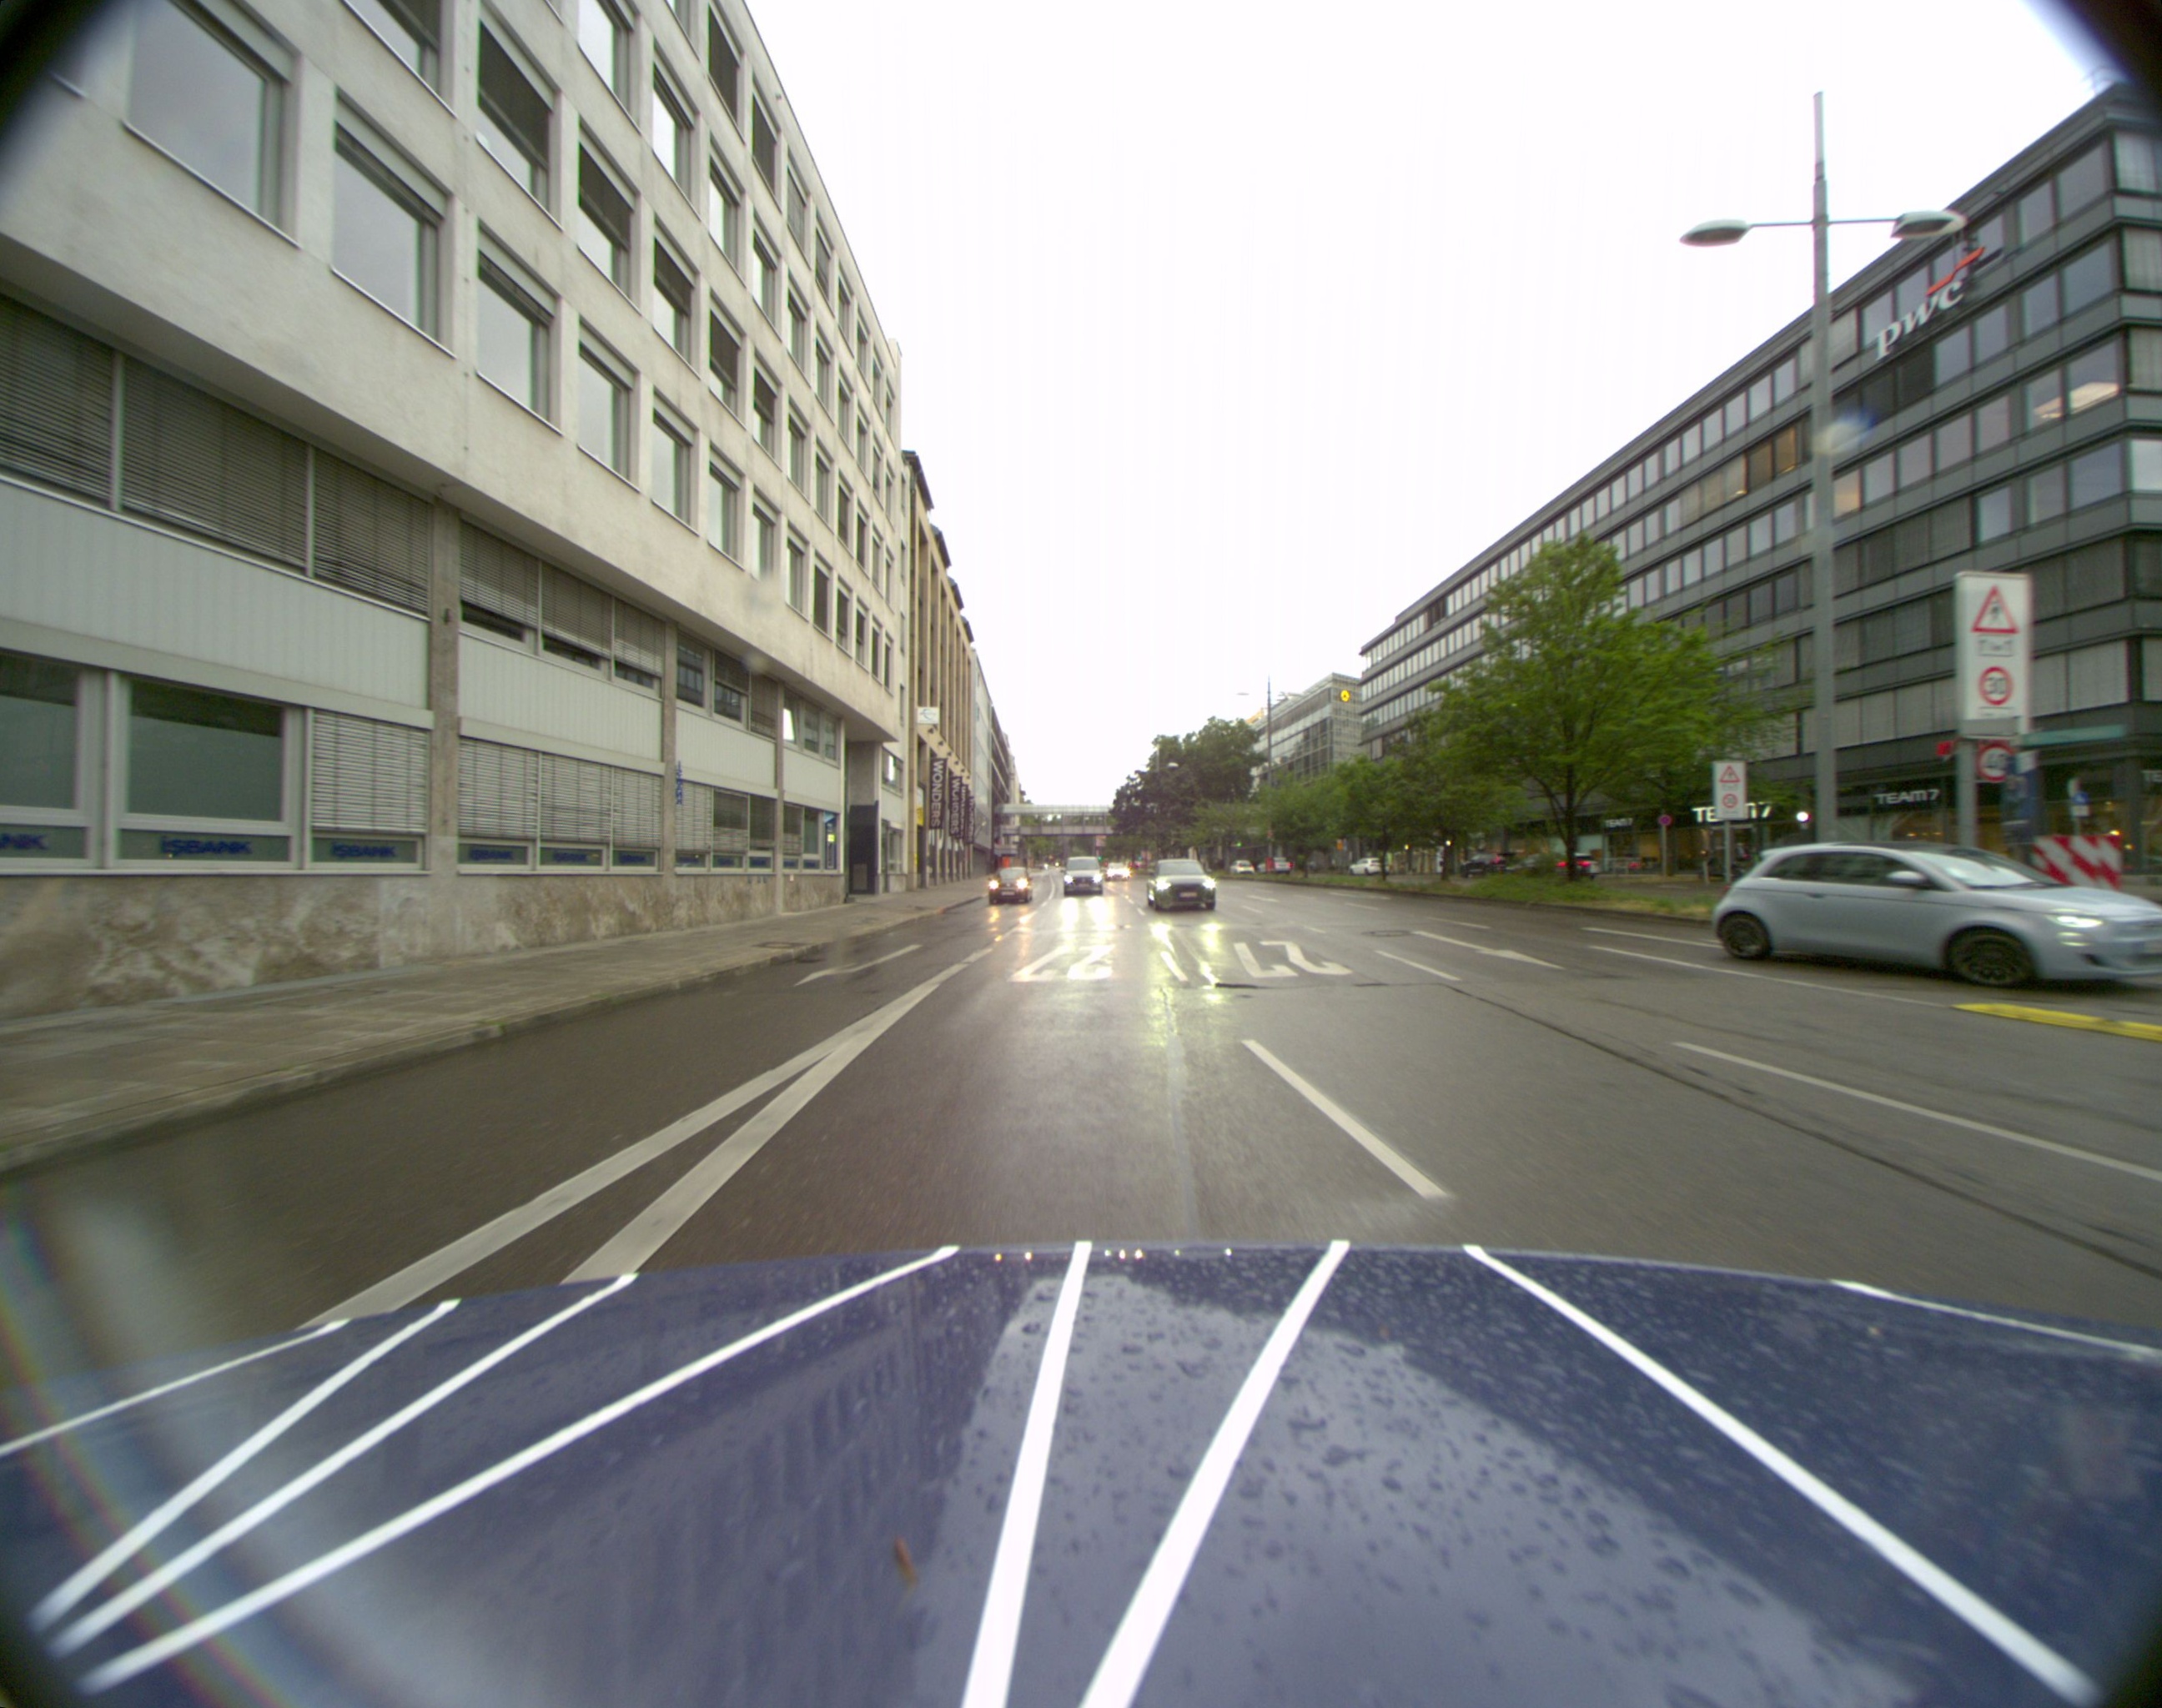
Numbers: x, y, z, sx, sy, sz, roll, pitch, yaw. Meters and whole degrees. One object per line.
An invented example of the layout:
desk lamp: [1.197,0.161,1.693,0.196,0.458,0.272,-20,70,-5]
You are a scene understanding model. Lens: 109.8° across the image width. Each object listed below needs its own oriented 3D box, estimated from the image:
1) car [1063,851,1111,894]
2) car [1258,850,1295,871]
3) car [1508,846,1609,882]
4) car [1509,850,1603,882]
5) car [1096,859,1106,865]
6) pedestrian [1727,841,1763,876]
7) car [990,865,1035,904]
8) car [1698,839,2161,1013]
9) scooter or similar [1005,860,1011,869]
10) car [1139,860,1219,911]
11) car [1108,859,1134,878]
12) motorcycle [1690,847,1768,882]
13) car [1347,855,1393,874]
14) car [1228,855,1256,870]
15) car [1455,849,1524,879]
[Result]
car: [0.222,0.884,38.753,2.163,2.014,5.040,-1,0,-2]
car: [17.387,0.602,67.820,1.742,1.717,4.492,-2,0,-5]
car: [22.067,0.463,35.336,1.998,1.535,4.483,-1,0,2]
car: [25.056,0.595,40.293,1.813,1.476,4.772,-4,0,-2]
car: [4.743,1.923,178.714,1.732,1.303,4.075,-2,0,-6]
pedestrian: [31.036,0.213,35.536,0.786,1.628,0.965,-1,0,-2]
car: [-2.795,1.205,31.544,1.667,1.464,3.483,-1,0,-2]
car: [9.735,0.657,8.847,1.789,1.564,3.688,-1,0,-10]
scooter or similar: [-9.811,1.387,101.566,0.472,1.266,1.306,-1,0,-19]
car: [3.039,0.942,24.467,1.941,1.426,4.287,-1,0,-1]
car: [3.213,1.179,61.997,1.853,1.434,3.870,-1,0,0]
motorcycle: [27.822,0.438,32.674,0.860,1.386,2.364,-5,2,-29]
car: [23.902,0.826,62.948,1.814,1.436,4.308,-2,0,-5]
car: [16.366,0.843,77.298,1.687,1.423,4.082,-1,0,-4]
car: [24.873,0.600,46.434,1.813,1.651,4.309,-2,0,-1]
